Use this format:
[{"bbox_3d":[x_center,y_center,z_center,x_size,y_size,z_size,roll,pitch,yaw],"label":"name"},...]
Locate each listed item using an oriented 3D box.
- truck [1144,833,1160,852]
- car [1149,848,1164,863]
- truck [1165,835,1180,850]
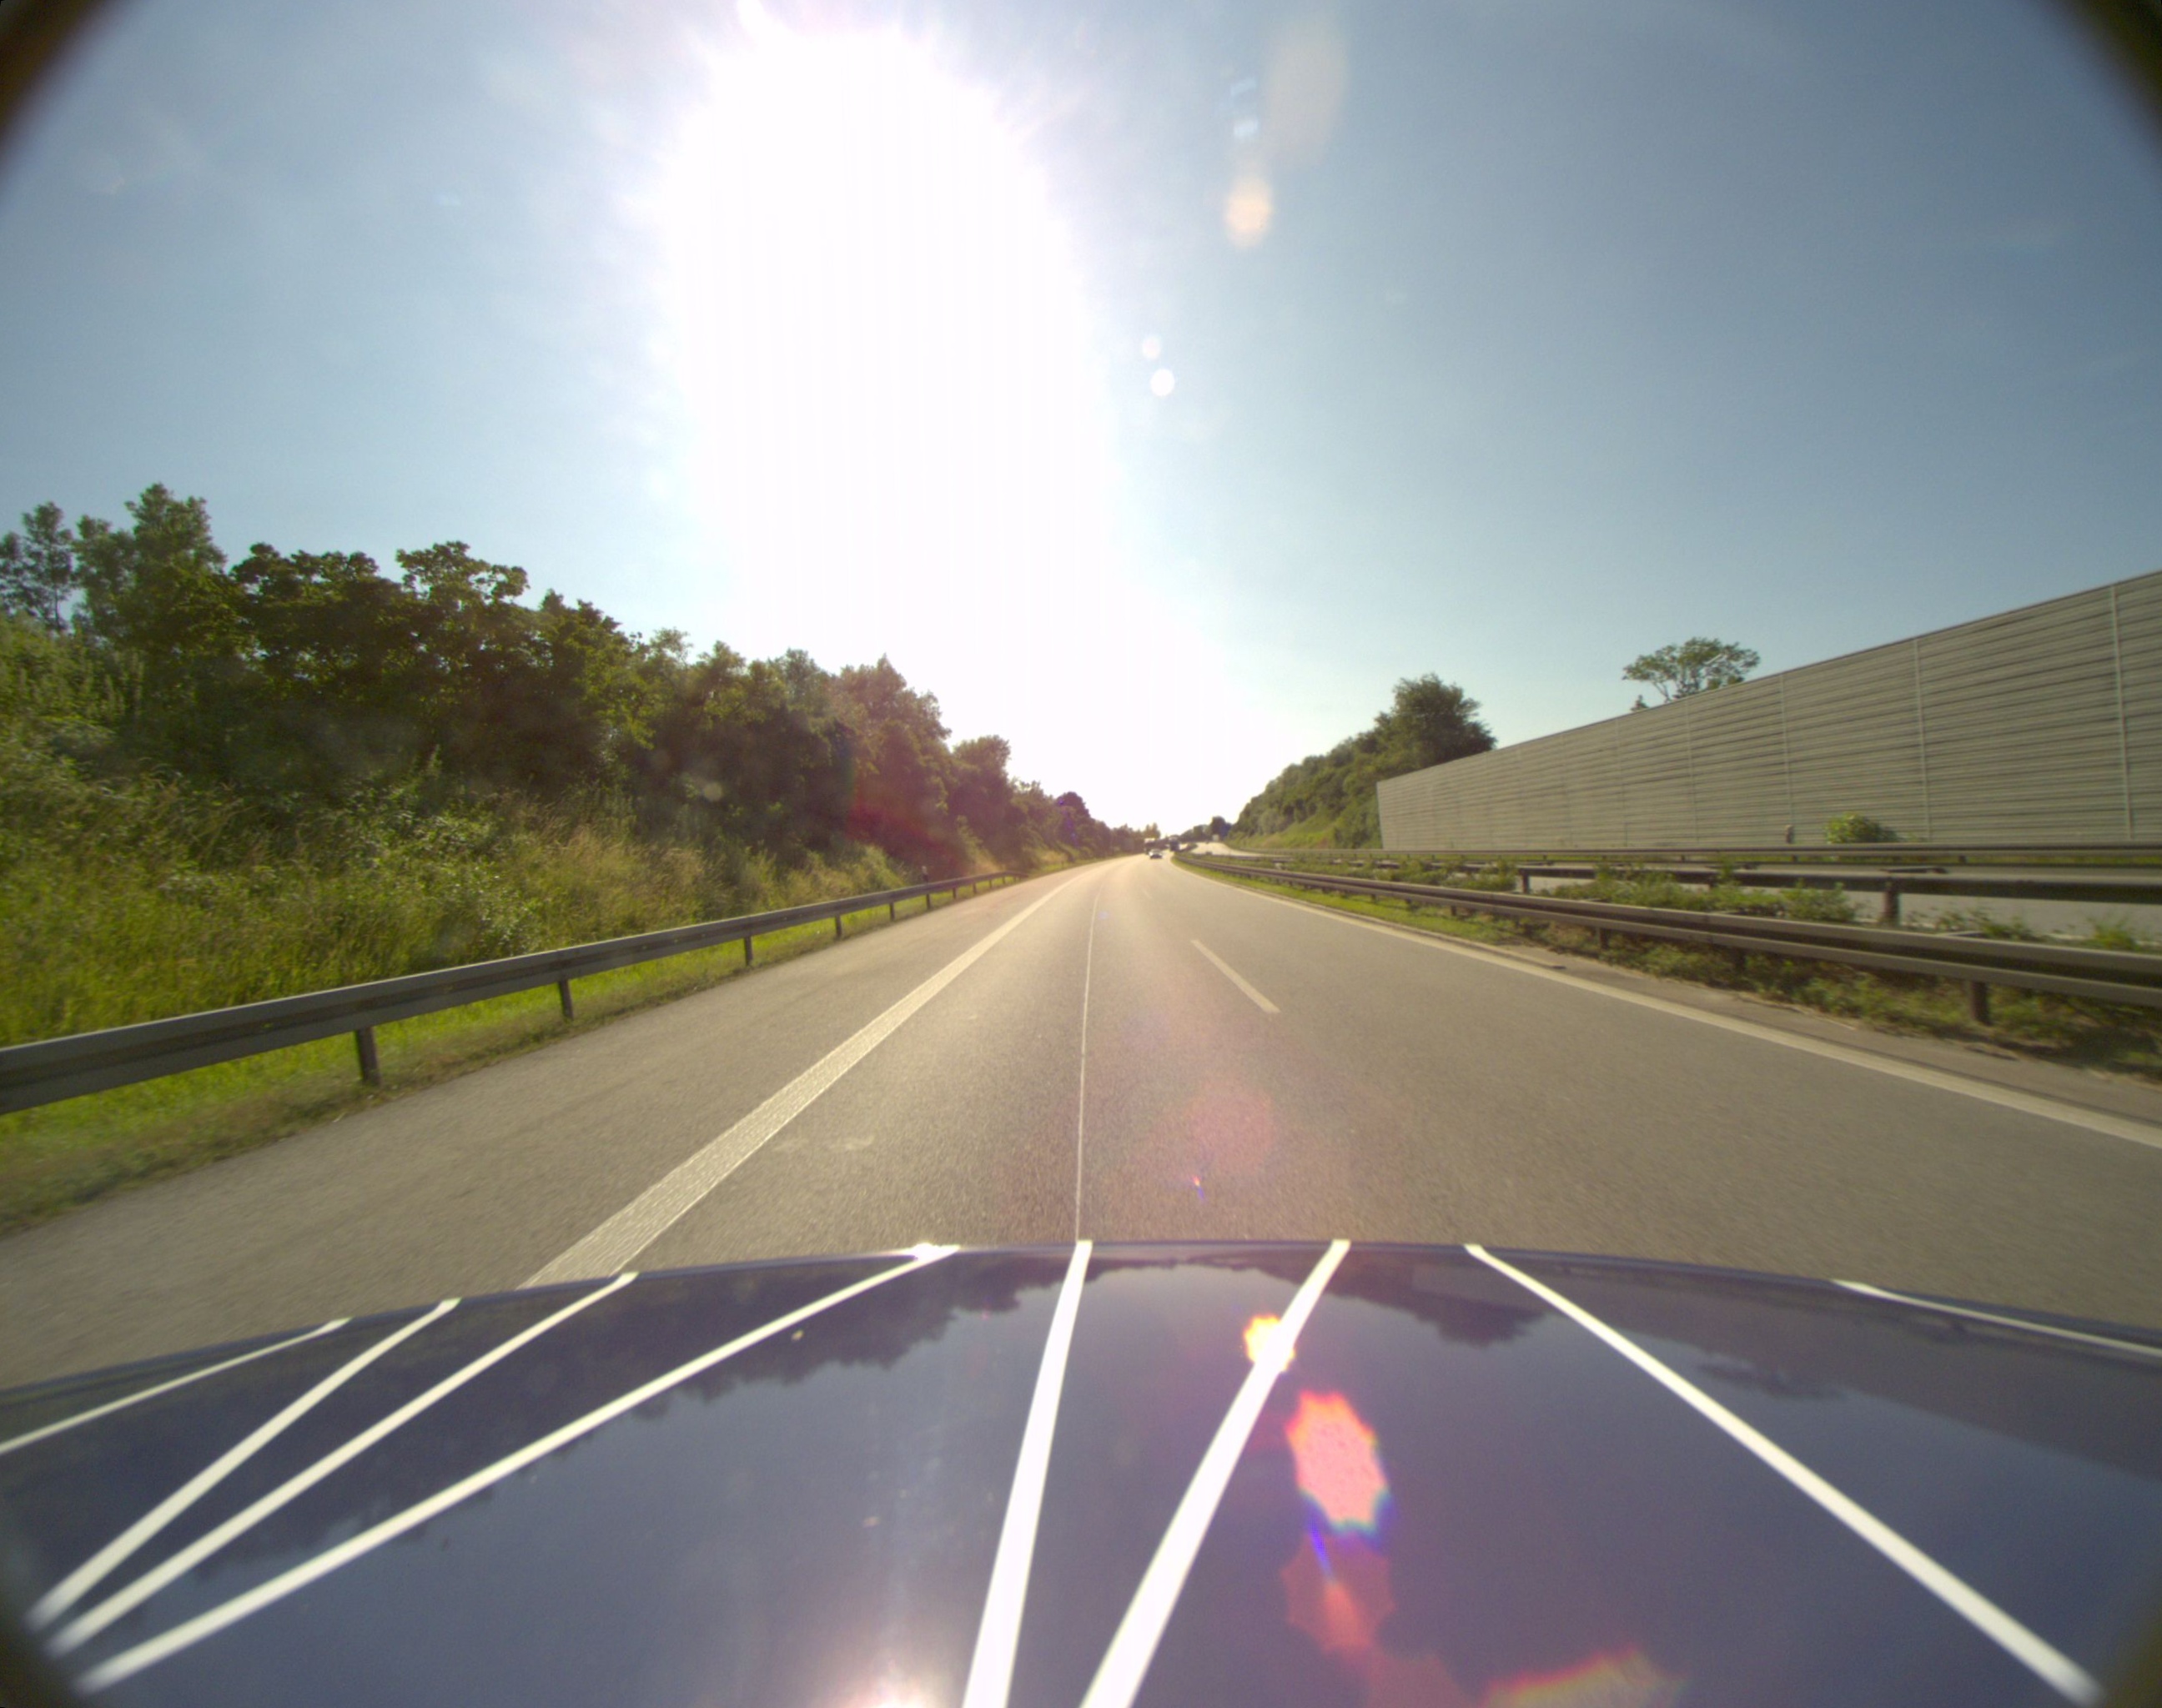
[{"bbox_3d":[16.701,-2.659,178.957,3.433,4.187,12.090,-2,1,6],"label":"truck"},{"bbox_3d":[11.418,0.243,114.516,1.998,2.001,4.602,-5,-1,6],"label":"car"},{"bbox_3d":[26.273,-3.318,219.051,3.433,4.187,12.087,-2,1,4],"label":"truck"}]
